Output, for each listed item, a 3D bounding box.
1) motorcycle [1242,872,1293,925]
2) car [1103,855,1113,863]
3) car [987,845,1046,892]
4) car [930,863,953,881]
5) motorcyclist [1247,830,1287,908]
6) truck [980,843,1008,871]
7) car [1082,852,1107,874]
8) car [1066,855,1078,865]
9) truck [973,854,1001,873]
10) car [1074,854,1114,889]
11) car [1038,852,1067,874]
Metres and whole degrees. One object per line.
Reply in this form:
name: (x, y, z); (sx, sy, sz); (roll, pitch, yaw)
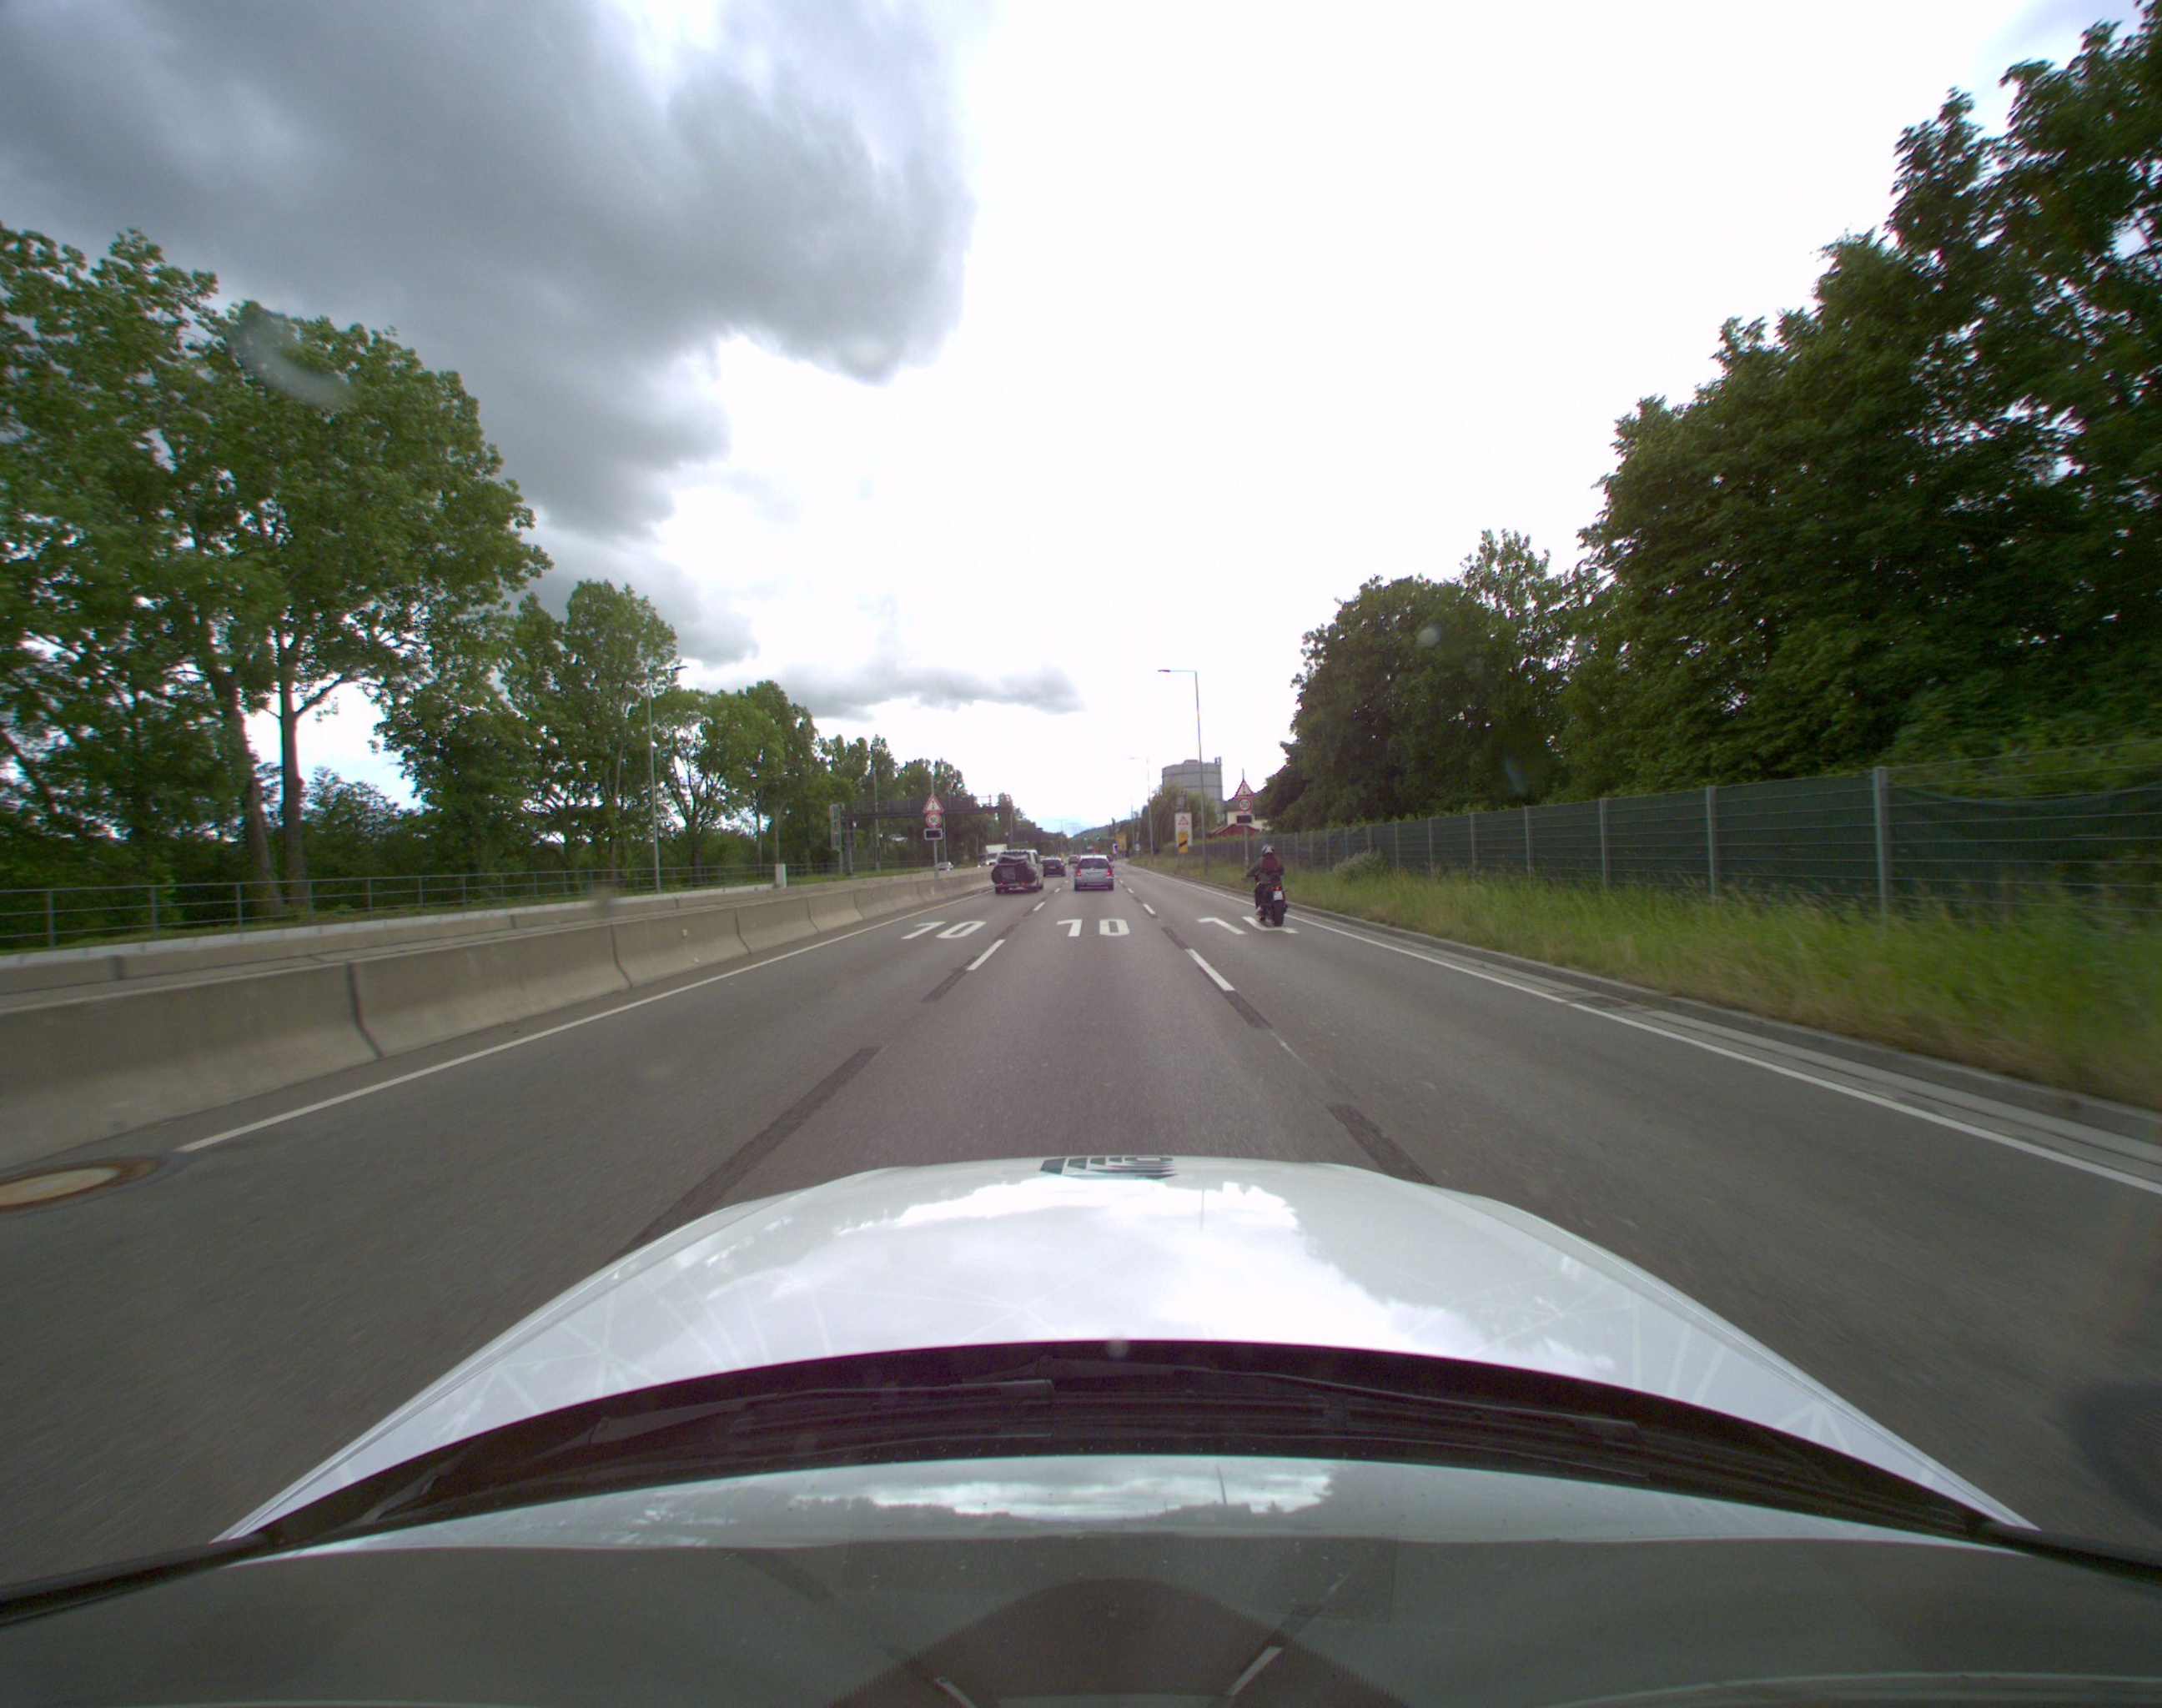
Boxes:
motorcycle: (3.971, 0.926, 17.479); (0.703, 1.040, 2.028); (0, 0, 3)
car: (5.958, 1.085, 180.306); (1.987, 1.552, 3.999); (0, 0, 0)
car: (-2.769, 0.584, 35.941); (2.208, 1.926, 5.001); (0, 0, 0)
car: (-16.084, 2.032, 94.251); (1.987, 2.013, 3.998); (0, 0, -1)
motorcyclist: (3.968, 0.313, 17.396); (0.682, 1.610, 0.846); (0, 0, 2)
truck: (-10.024, 0.364, 94.489); (2.396, 3.107, 7.201); (0, 0, 0)
car: (1.053, 0.706, 64.257); (1.901, 1.684, 4.001); (0, 0, 1)
car: (-1.452, 0.963, 133.703); (1.987, 1.552, 3.999); (0, 0, 0)
truck: (-16.097, 1.578, 140.260); (2.844, 3.107, 15.884); (0, 0, 0)
car: (0.599, 0.769, 37.247); (1.705, 1.530, 4.000); (0, 0, 1)
car: (-2.127, 0.674, 61.653); (1.986, 1.552, 4.001); (0, 0, 1)
